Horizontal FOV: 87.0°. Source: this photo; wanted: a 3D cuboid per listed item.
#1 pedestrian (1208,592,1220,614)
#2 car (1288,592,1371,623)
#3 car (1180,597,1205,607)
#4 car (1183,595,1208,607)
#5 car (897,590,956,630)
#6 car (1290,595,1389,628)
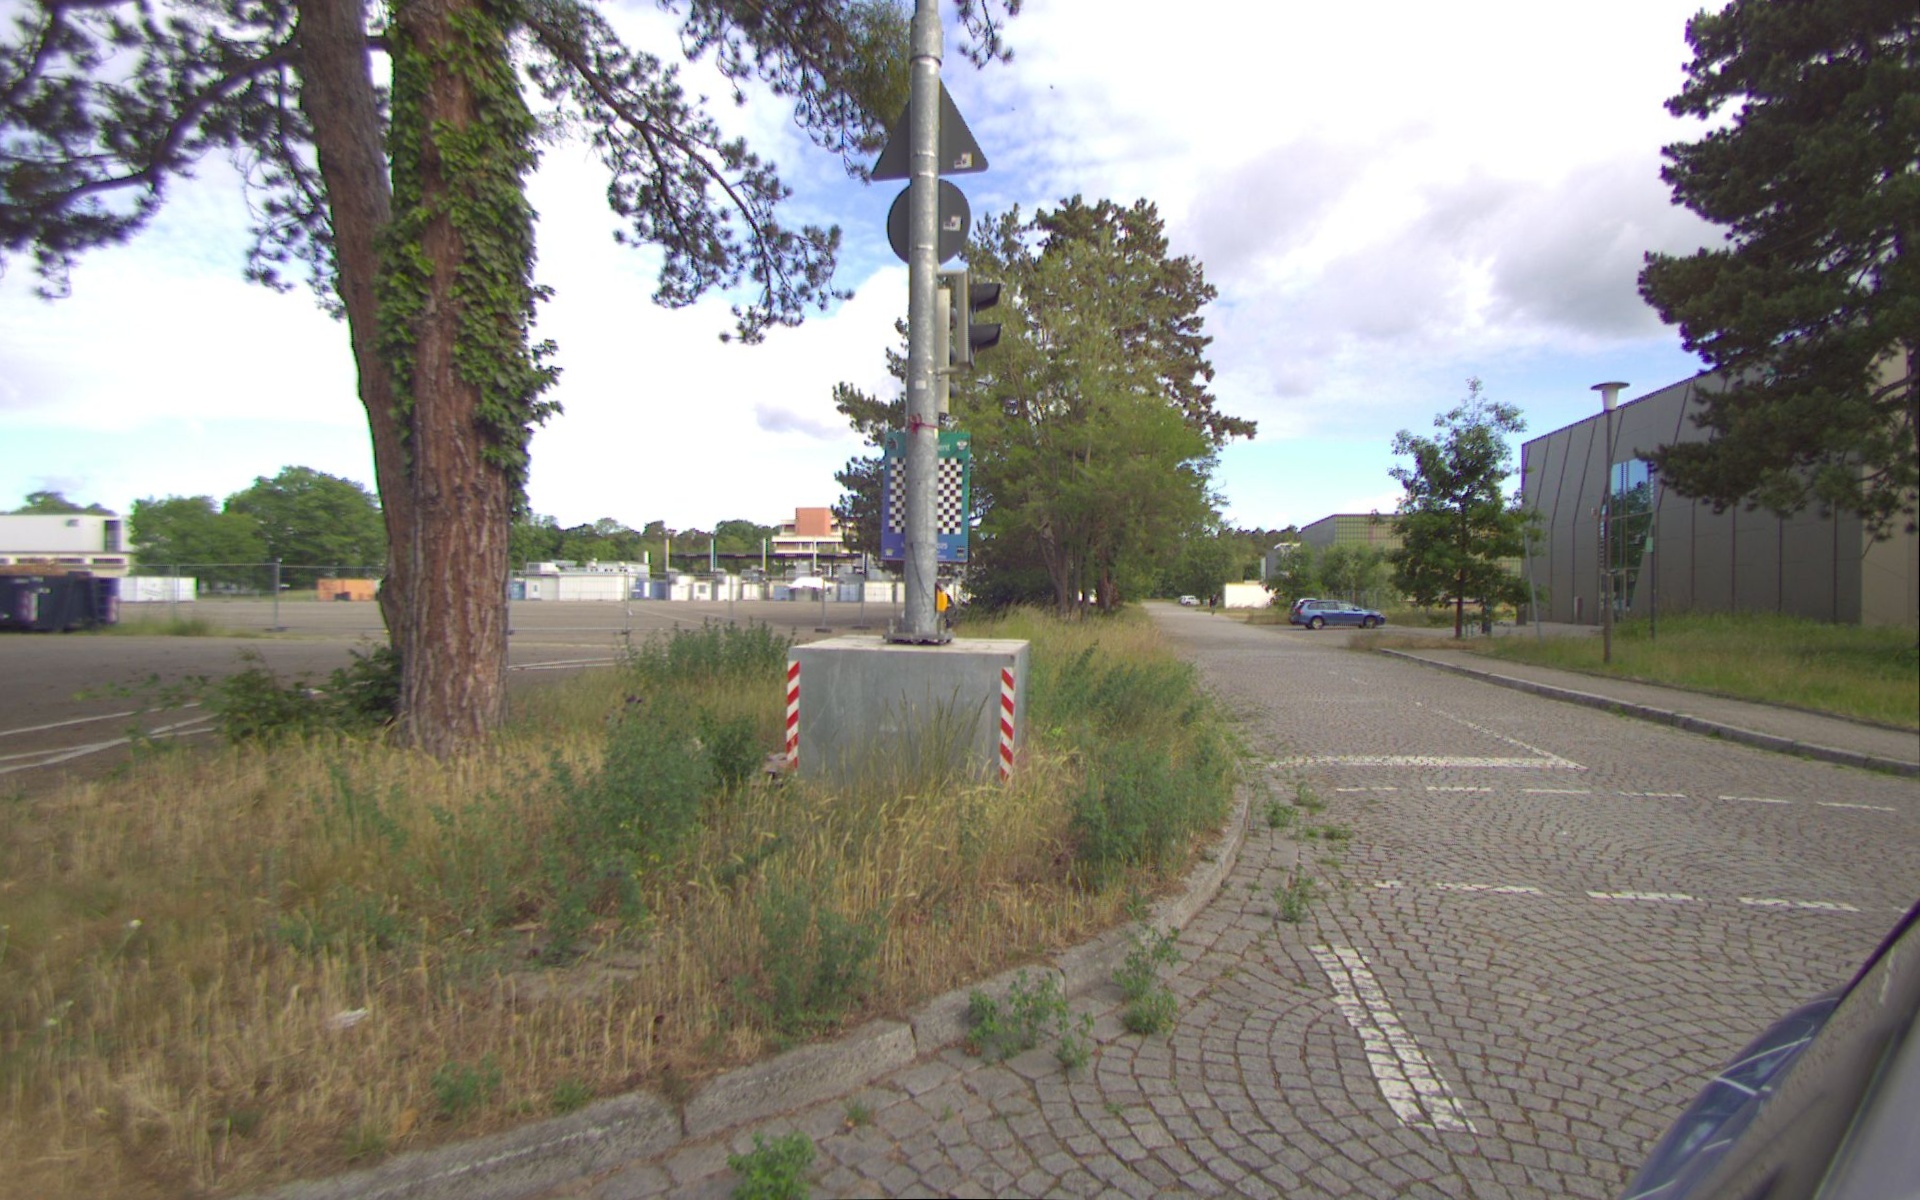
[{"bbox_3d":[20.115,0.221,80.110,0.863,1.745,1.003,0,0,14],"label":"pedestrian"},{"bbox_3d":[21.291,0.417,58.398,4.125,1.606,1.834,-2,0,8],"label":"car"},{"bbox_3d":[38.200,0.309,166.307,4.020,1.594,1.779,1,0,13],"label":"car"},{"bbox_3d":[38.139,0.179,164.014,4.020,1.862,1.778,1,0,13],"label":"car"},{"bbox_3d":[-1.279,0.370,40.368,1.832,1.493,4.145,1,1,6],"label":"car"},{"bbox_3d":[19.176,0.566,51.260,4.343,1.481,1.834,-2,0,8],"label":"car"}]
